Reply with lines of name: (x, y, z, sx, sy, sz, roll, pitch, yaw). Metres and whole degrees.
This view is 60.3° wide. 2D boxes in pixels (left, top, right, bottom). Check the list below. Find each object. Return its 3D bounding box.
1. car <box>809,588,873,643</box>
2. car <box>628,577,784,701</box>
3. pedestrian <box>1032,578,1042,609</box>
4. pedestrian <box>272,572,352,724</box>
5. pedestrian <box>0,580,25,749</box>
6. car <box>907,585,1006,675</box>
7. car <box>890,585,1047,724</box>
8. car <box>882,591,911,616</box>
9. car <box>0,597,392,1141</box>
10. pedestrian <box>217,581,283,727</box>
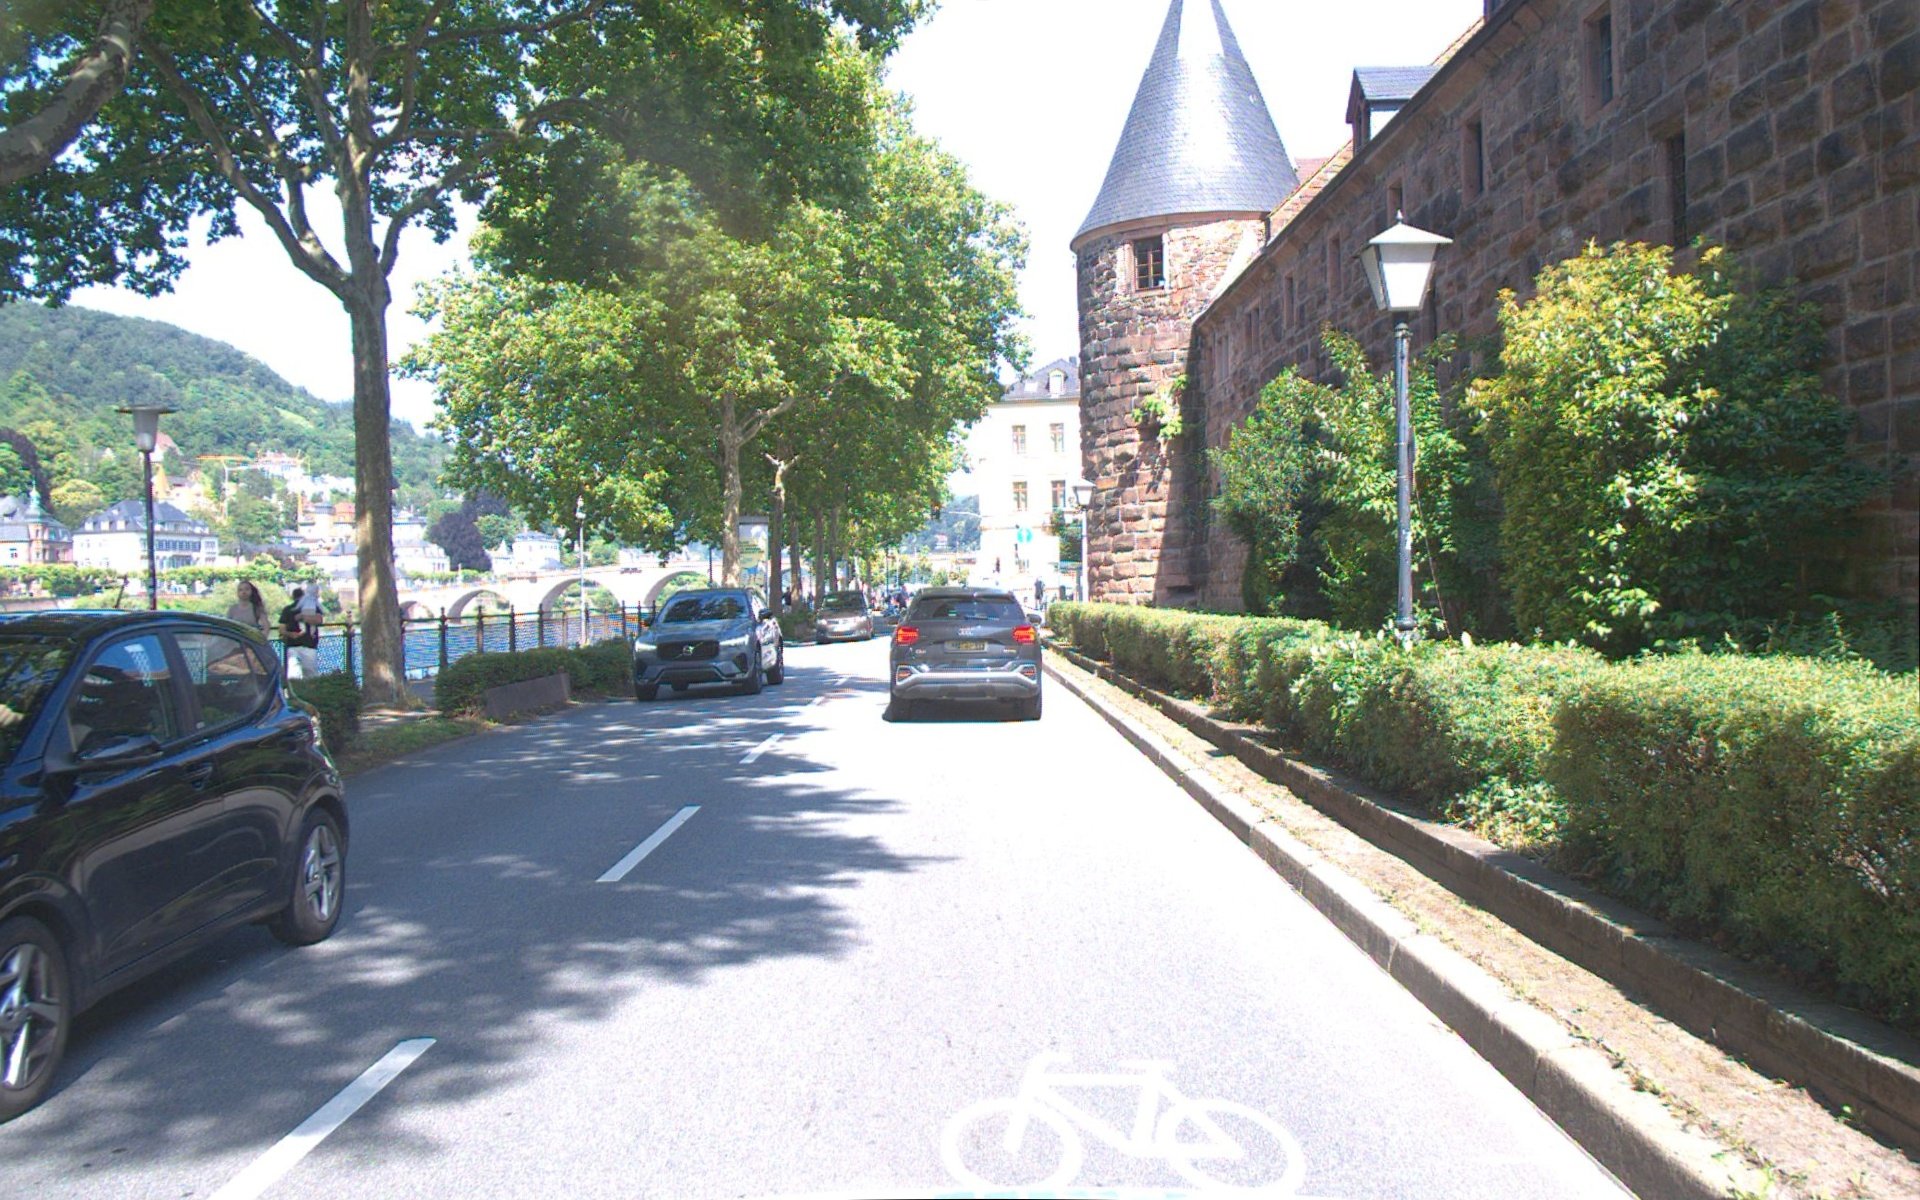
car: (-3.868, 0.477, 54.190, 1.727, 1.676, 4.089, -3, 0, 0)
car: (-3.928, 0.560, 26.261, 1.839, 1.728, 4.258, -3, 0, -1)
pedestrian: (4.211, -0.367, 90.161, 0.545, 1.661, 0.660, 0, 0, 1)
pedestrian: (-8.397, 0.608, 21.458, 0.628, 1.902, 0.806, -2, 0, 0)
pedestrian: (-10.269, 0.661, 17.107, 0.679, 1.747, 0.874, 1, 0, -2)
car: (-0.056, 0.540, 32.495, 1.764, 1.589, 3.716, -3, 0, 0)
car: (0.048, 0.587, 19.921, 1.713, 1.520, 3.628, 0, 0, -2)
car: (-4.104, 0.197, 107.290, 1.581, 1.549, 3.477, -3, 0, 1)
car: (-3.514, 0.777, 5.975, 1.616, 1.494, 3.778, -3, 0, -1)
pedestrian: (-8.986, 0.673, 20.945, 0.506, 1.799, 0.592, -2, 0, 0)
